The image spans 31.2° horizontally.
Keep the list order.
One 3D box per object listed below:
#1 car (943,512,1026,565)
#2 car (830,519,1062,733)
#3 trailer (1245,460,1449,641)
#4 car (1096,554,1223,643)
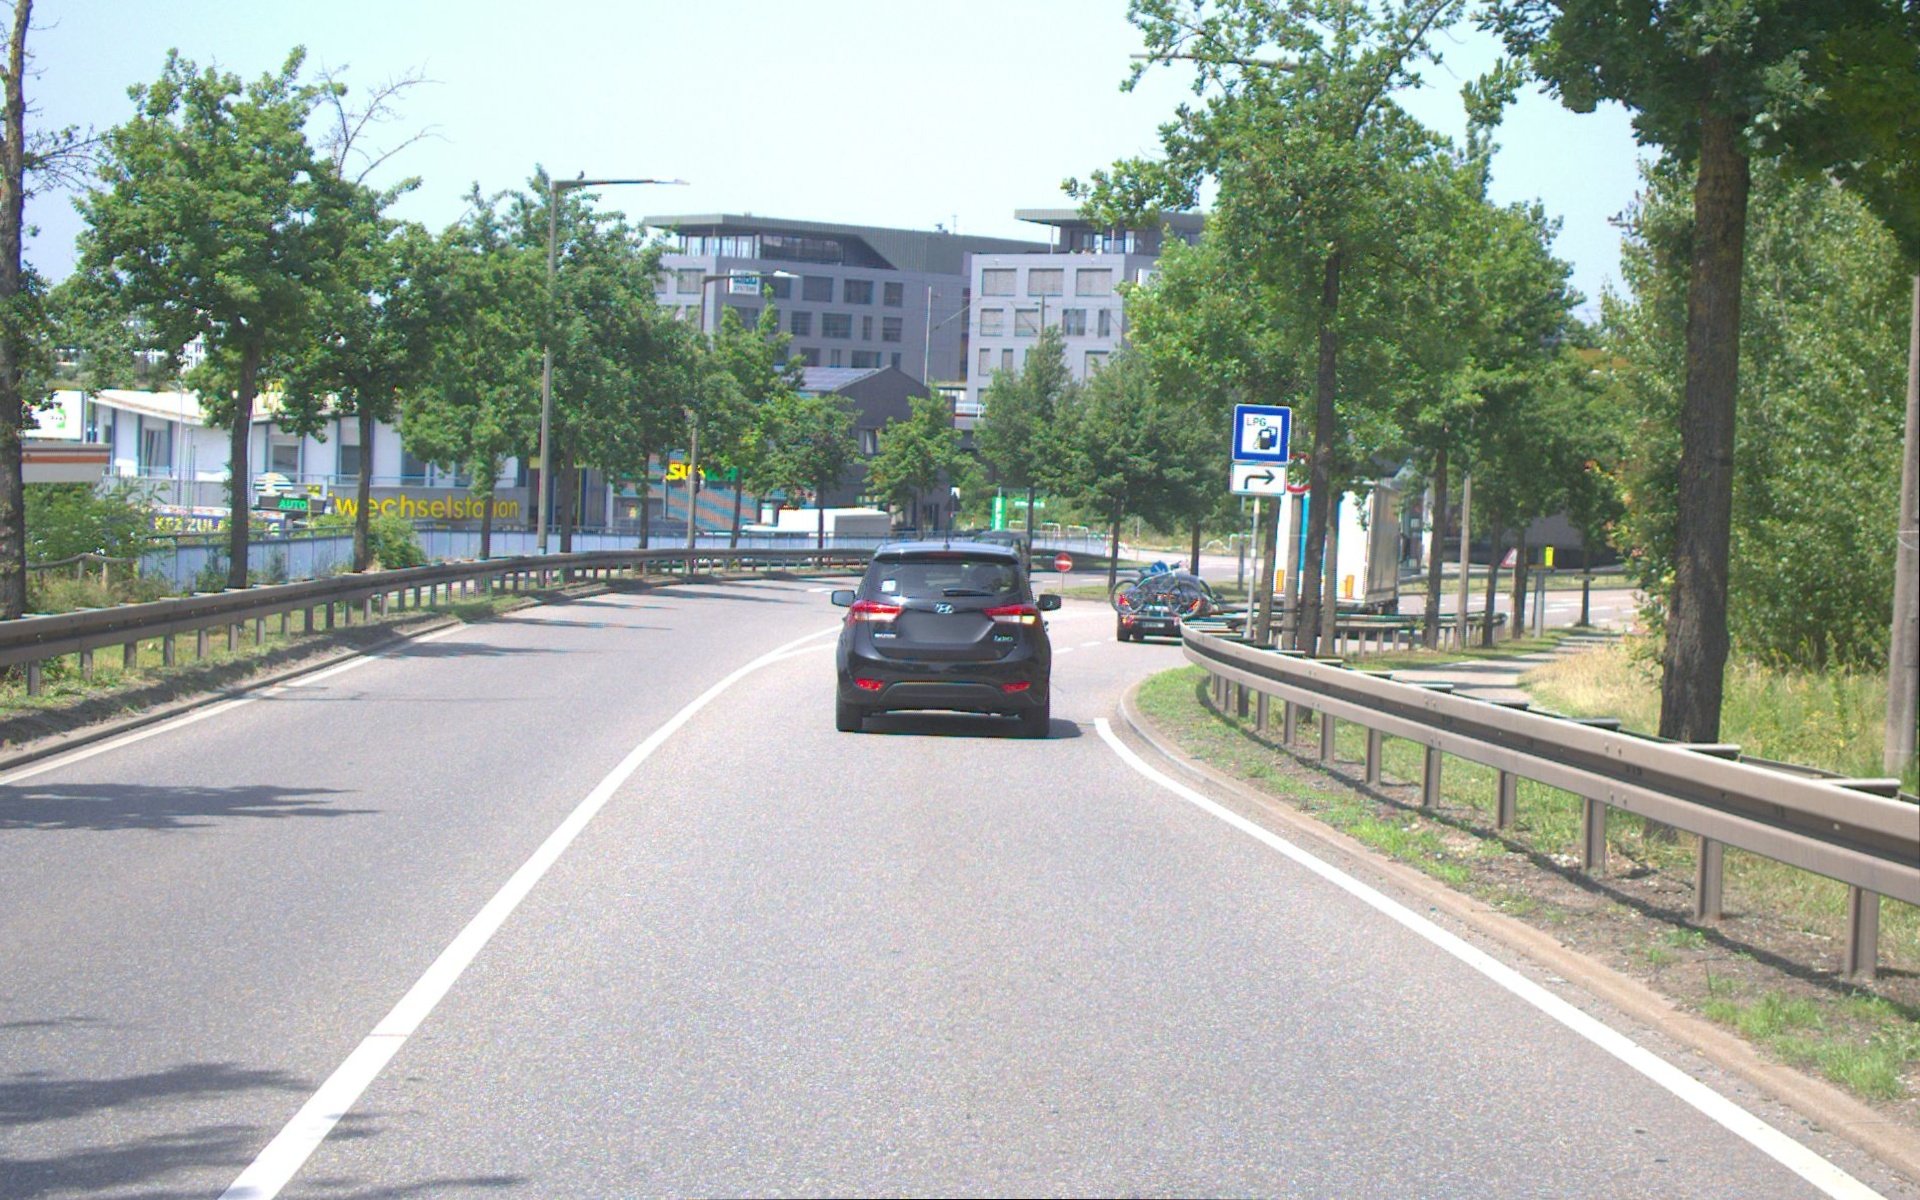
[{"bbox_3d":[0.921,-2.209,124.072,1.808,1.753,4.249,4,1,16],"label":"car"},{"bbox_3d":[-0.133,0.161,29.501,1.767,1.593,4.078,3,1,-1],"label":"car"},{"bbox_3d":[10.621,-1.477,92.645,3.080,4.353,14.765,3,3,15],"label":"trailer"},{"bbox_3d":[3.992,-0.062,68.161,1.958,1.628,4.278,2,1,10],"label":"car"}]
